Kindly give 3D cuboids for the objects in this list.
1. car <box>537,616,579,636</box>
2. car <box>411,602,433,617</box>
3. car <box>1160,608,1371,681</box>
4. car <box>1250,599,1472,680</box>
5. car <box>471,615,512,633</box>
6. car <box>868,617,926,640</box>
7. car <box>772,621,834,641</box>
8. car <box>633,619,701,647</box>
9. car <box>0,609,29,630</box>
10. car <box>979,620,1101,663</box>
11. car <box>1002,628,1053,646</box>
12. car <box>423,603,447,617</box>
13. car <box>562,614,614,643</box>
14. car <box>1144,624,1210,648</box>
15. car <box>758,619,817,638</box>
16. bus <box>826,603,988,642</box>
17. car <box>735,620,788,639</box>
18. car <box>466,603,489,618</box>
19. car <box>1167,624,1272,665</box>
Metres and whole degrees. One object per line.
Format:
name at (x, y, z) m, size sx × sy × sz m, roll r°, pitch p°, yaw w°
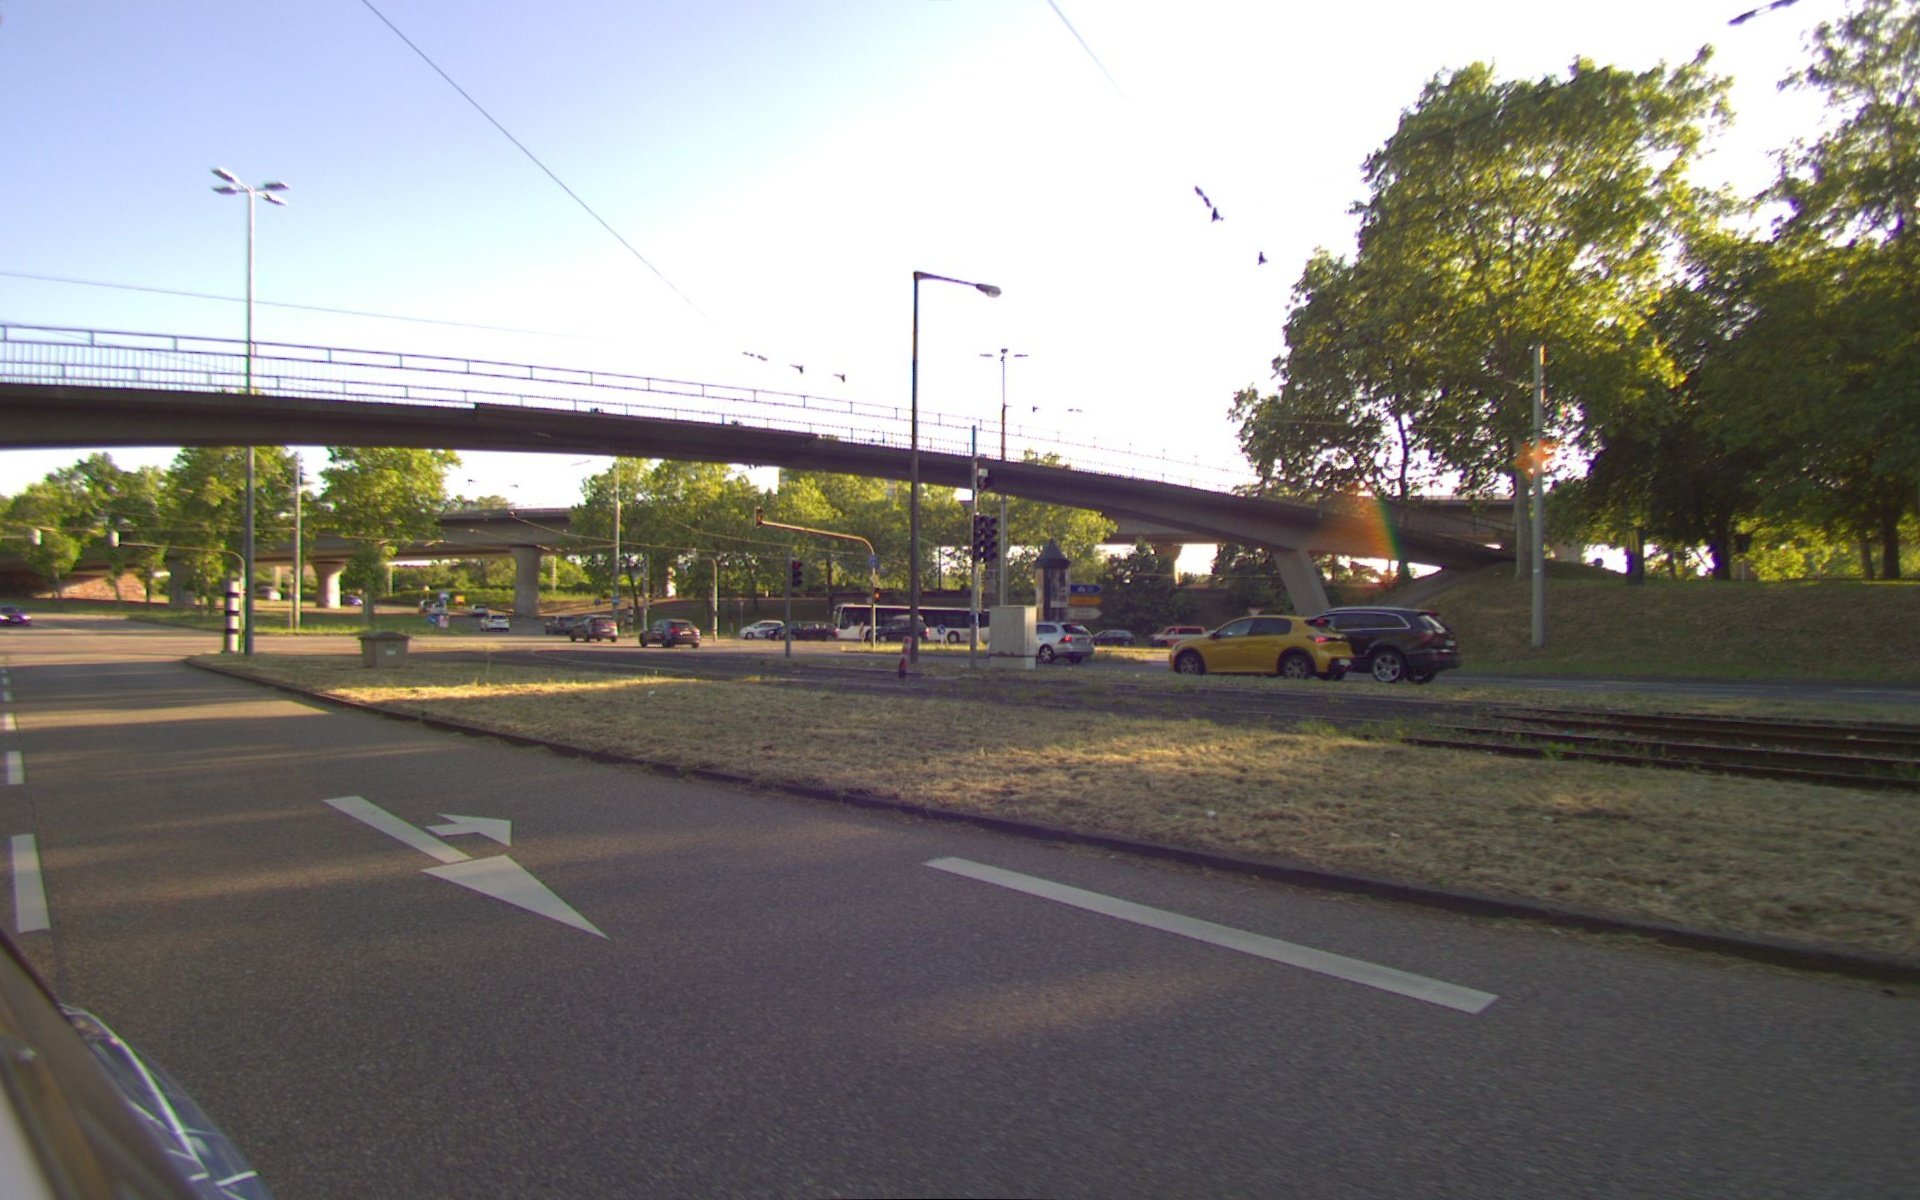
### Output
car at (-31.433, 1.998, 79.094) m, size 1.979 × 1.454 × 4.262 m, roll 0°, pitch -1°, yaw -38°
car at (-69.003, 1.193, 129.855) m, size 1.827 × 1.881 × 4.155 m, roll 1°, pitch -1°, yaw -37°
car at (6.550, 0.902, 21.976) m, size 1.817 × 1.426 × 4.021 m, roll 0°, pitch -1°, yaw -45°
car at (9.217, 0.861, 23.494) m, size 4.437 × 1.667 × 1.818 m, roll -1°, pitch 0°, yaw 44°
car at (-38.557, 1.940, 83.182) m, size 1.980 × 1.454 × 4.870 m, roll 0°, pitch -1°, yaw -39°
car at (-4.747, 2.151, 76.703) m, size 4.024 × 1.665 × 1.722 m, roll 1°, pitch -1°, yaw -22°
car at (-11.064, 2.196, 71.248) m, size 4.024 × 1.364 × 1.722 m, roll 1°, pitch -1°, yaw -22°
car at (-14.782, 1.639, 50.942) m, size 1.665 × 1.320 × 4.316 m, roll 0°, pitch -1°, yaw -41°
car at (-69.506, 1.454, 73.909) m, size 4.000 × 1.497 × 1.972 m, roll -1°, pitch -1°, yaw 43°
car at (2.841, 1.463, 36.793) m, size 1.667 × 1.426 × 4.441 m, roll -1°, pitch 0°, yaw -44°
car at (5.653, 3.103, 84.886) m, size 3.930 × 1.453 × 1.711 m, roll 1°, pitch 0°, yaw -22°
car at (-62.557, 1.162, 120.607) m, size 1.827 × 1.621 × 4.317 m, roll 1°, pitch -1°, yaw -37°
car at (-22.590, 1.717, 61.399) m, size 1.767 × 1.663 × 4.366 m, roll 0°, pitch -1°, yaw -37°
car at (18.996, 3.112, 88.439) m, size 5.332 × 2.029 × 2.006 m, roll 0°, pitch -1°, yaw -17°
car at (-12.603, 2.081, 73.877) m, size 3.930 × 1.364 × 1.615 m, roll 1°, pitch -1°, yaw -24°
bus at (-4.183, 1.790, 81.150) m, size 12.630 × 2.977 × 2.841 m, roll 1°, pitch -1°, yaw -20°
car at (-15.103, 2.230, 76.851) m, size 3.669 × 1.364 × 1.615 m, roll 1°, pitch -1°, yaw -24°
car at (-56.974, 1.226, 119.401) m, size 1.826 × 1.621 × 4.382 m, roll 1°, pitch -1°, yaw -34°
car at (10.178, 1.721, 39.989) m, size 1.662 × 1.426 × 4.206 m, roll -1°, pitch 0°, yaw -27°
